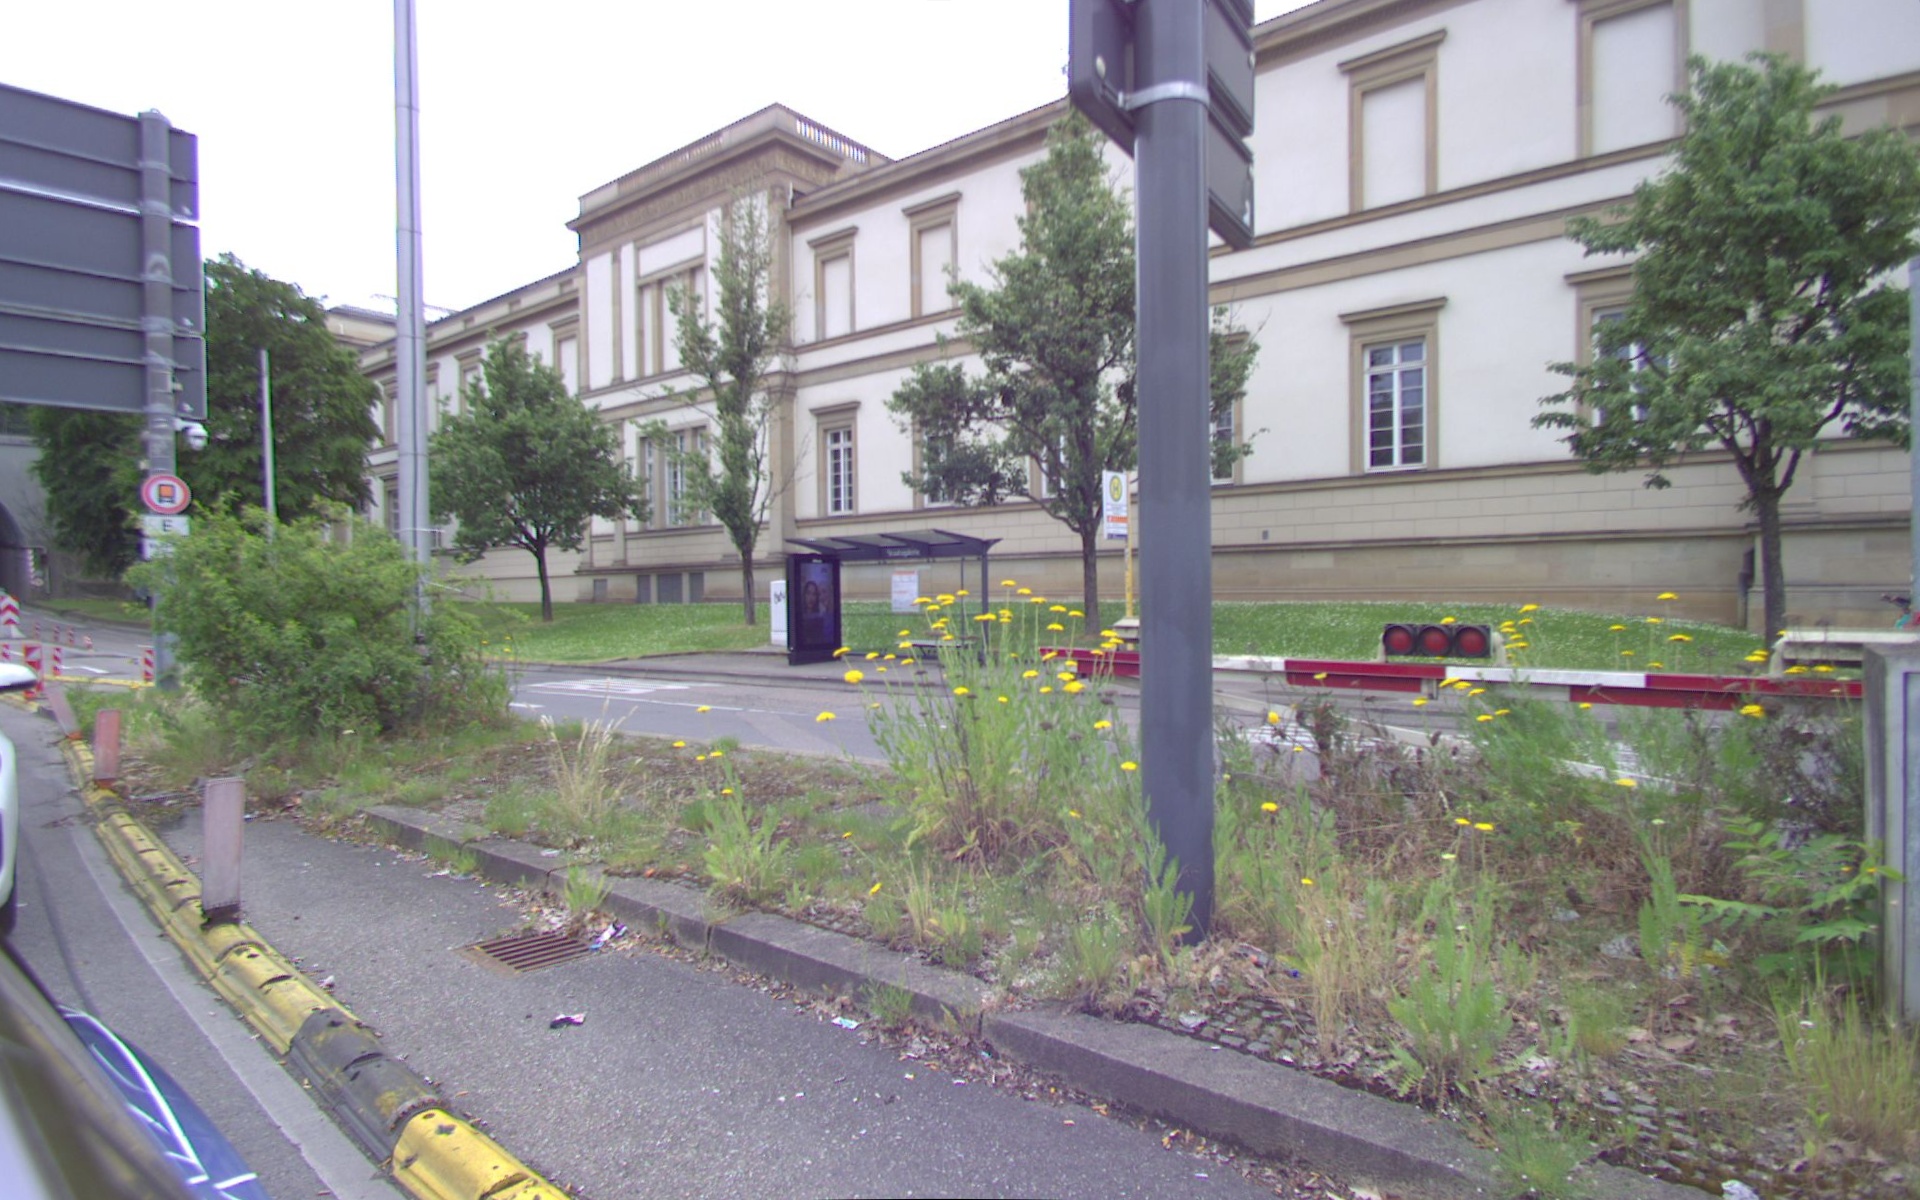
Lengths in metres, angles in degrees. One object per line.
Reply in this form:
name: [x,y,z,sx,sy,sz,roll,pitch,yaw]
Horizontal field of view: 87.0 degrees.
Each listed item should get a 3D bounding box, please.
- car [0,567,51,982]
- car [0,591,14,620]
car: [-5.703,0.696,4.577,3.669,1.637,1.962,0,0,41]
car: [-59.656,0.357,62.372,4.001,1.759,1.811,0,0,44]
